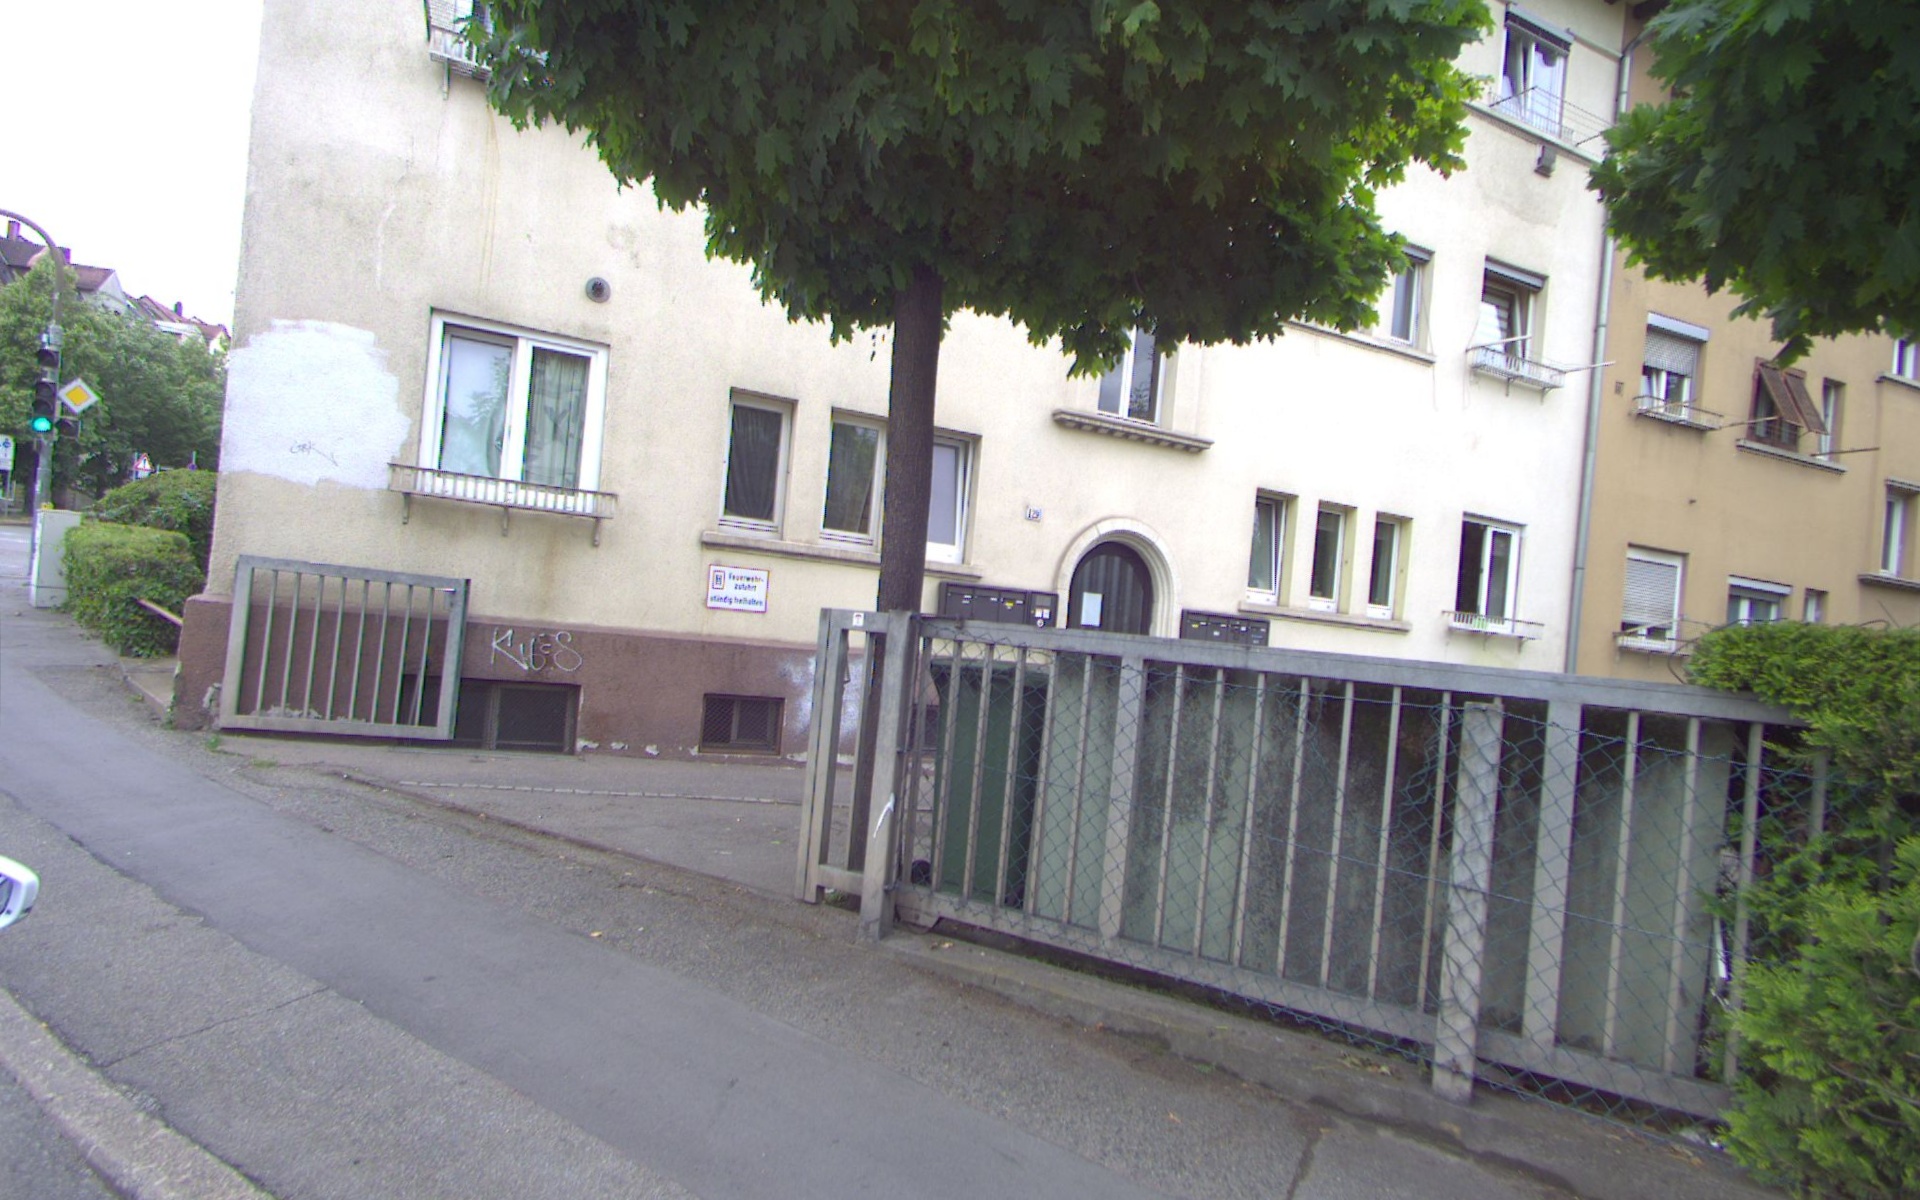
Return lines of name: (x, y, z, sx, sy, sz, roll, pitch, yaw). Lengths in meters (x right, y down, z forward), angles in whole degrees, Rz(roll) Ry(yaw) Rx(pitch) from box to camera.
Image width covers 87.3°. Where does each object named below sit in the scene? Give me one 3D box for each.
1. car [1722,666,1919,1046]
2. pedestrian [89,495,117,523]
car: (5.241, 1.224, 3.756, 1.688, 1.477, 3.405, 9, -2, -37)
pedestrian: (-67.616, -7.172, 79.370, 1.179, 2.038, 0.985, 7, 0, -18)
